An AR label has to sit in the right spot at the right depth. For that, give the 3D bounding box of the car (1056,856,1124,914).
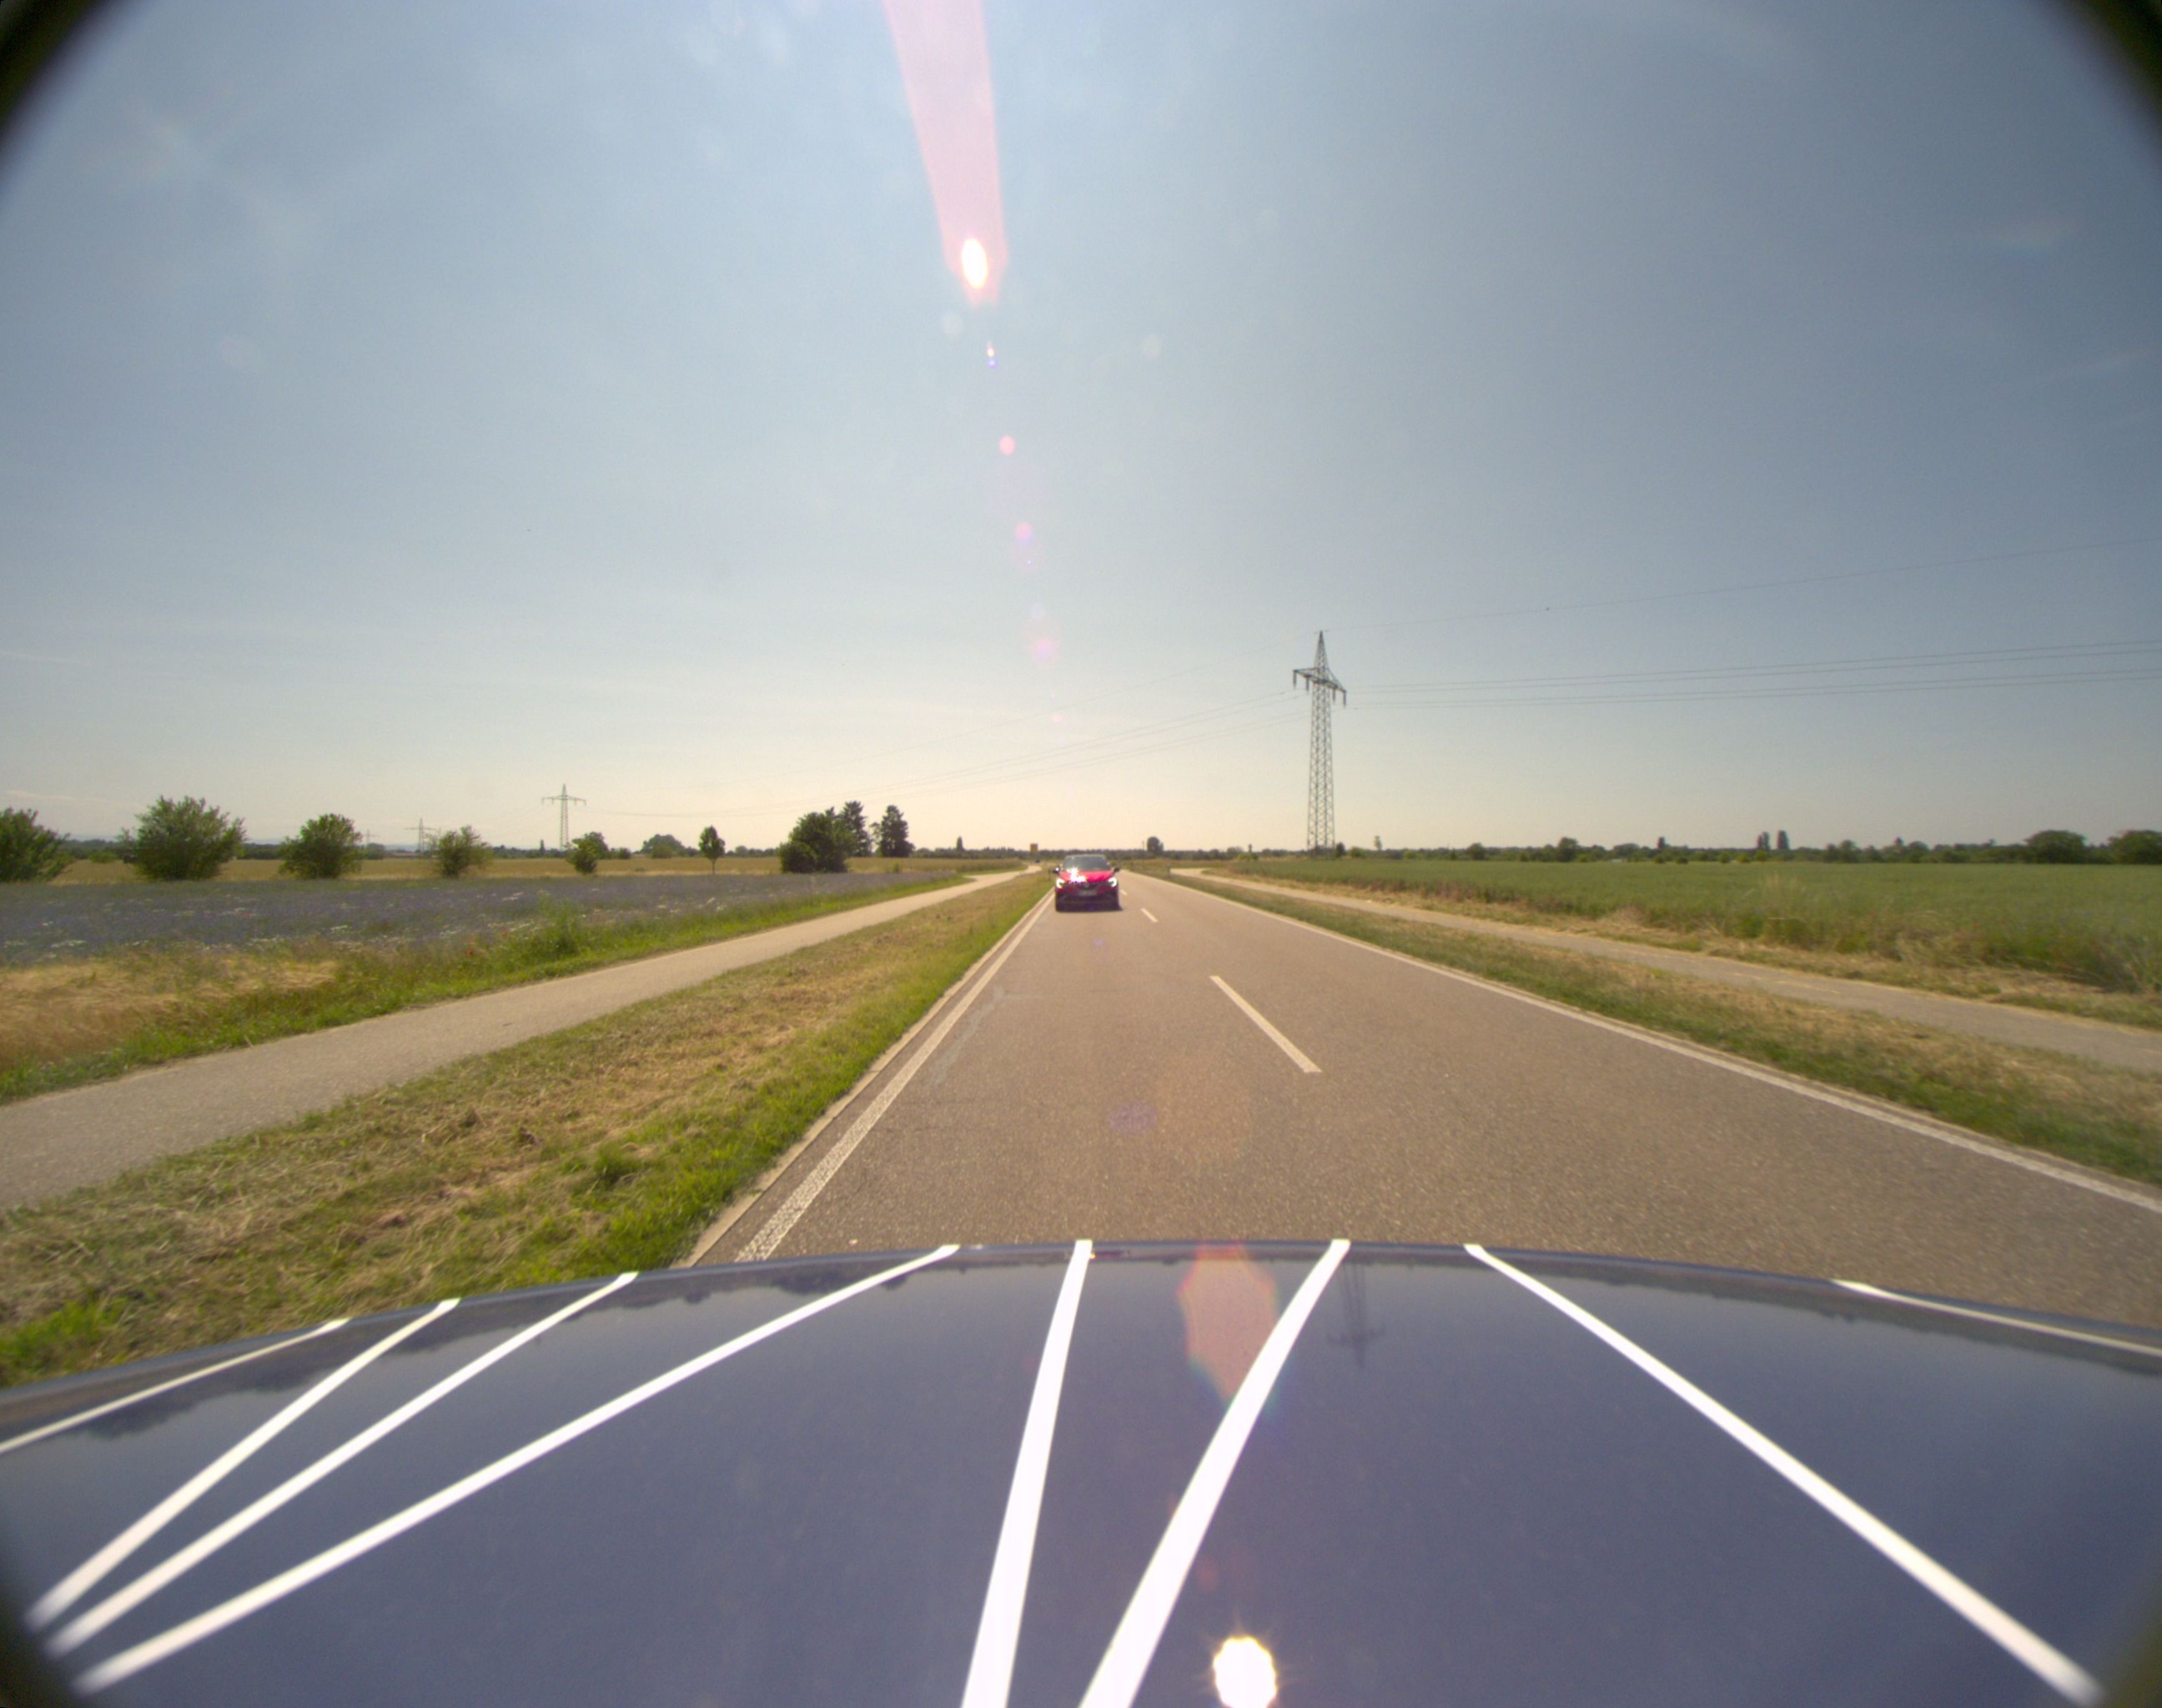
[{"bbox_3d":[0.172,0.845,23.033,1.827,1.543,4.448,-1,0,-2],"label":"car"}]
